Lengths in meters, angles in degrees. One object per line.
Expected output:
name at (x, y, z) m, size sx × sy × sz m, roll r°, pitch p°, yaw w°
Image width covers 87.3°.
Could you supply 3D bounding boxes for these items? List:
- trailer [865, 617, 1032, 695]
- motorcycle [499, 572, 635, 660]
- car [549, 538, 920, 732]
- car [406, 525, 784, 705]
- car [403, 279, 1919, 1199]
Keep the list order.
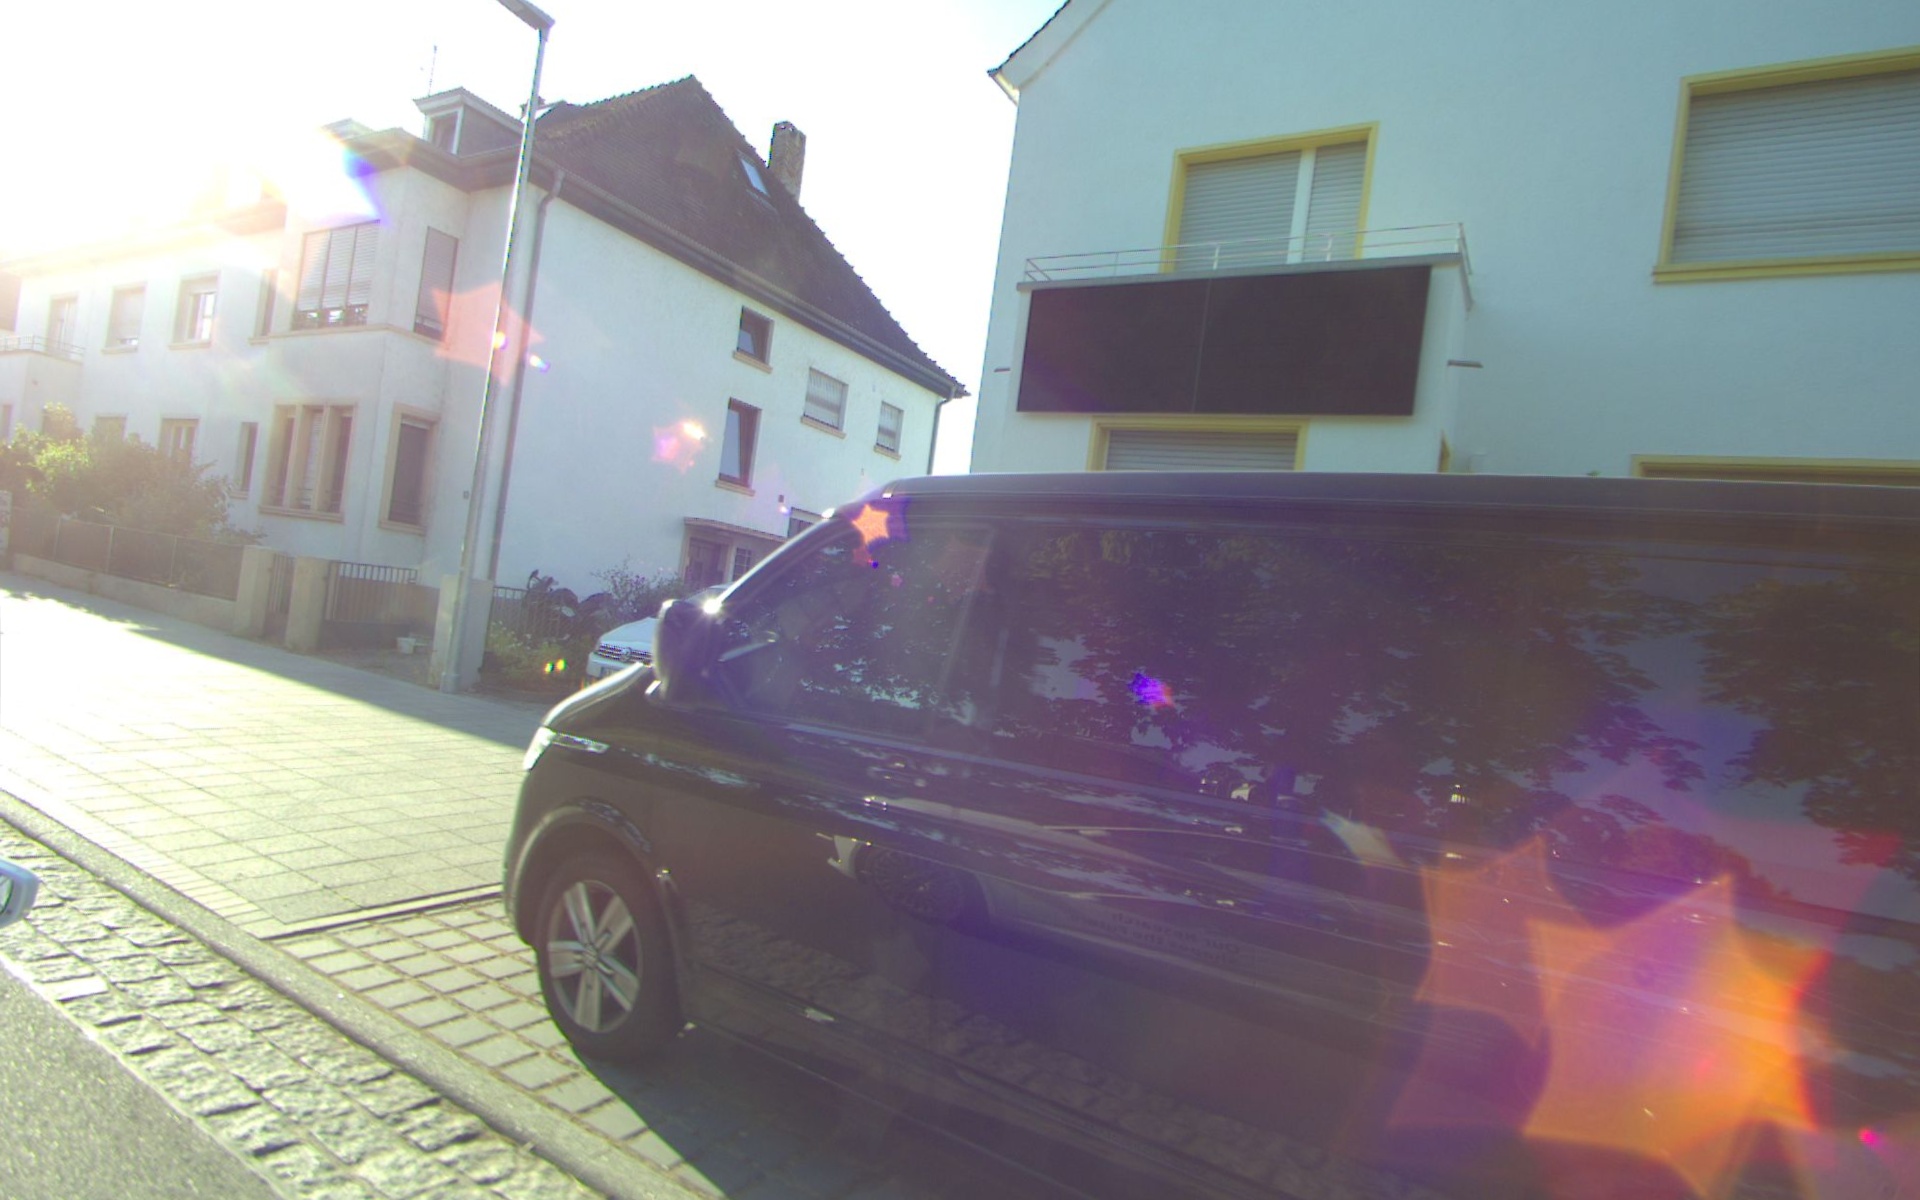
trailer at (-0.158, 1.342, 23.157) m, size 1.966 × 1.277 × 4.073 m, roll 8°, pitch -2°, yaw 30°
motorcycle at (-6.417, 0.296, 16.564) m, size 0.588 × 1.263 × 2.073 m, roll 7°, pitch -1°, yaw 29°
car at (-2.425, 0.549, 12.001) m, size 1.821 × 1.745 × 4.231 m, roll 7°, pitch -3°, yaw 28°
car at (-4.349, 0.292, 12.725) m, size 1.821 × 1.746 × 4.227 m, roll 7°, pitch -1°, yaw 28°
car at (0.574, 0.494, 3.146) m, size 4.735 × 2.159 × 1.907 m, roll 7°, pitch 1°, yaw 33°
